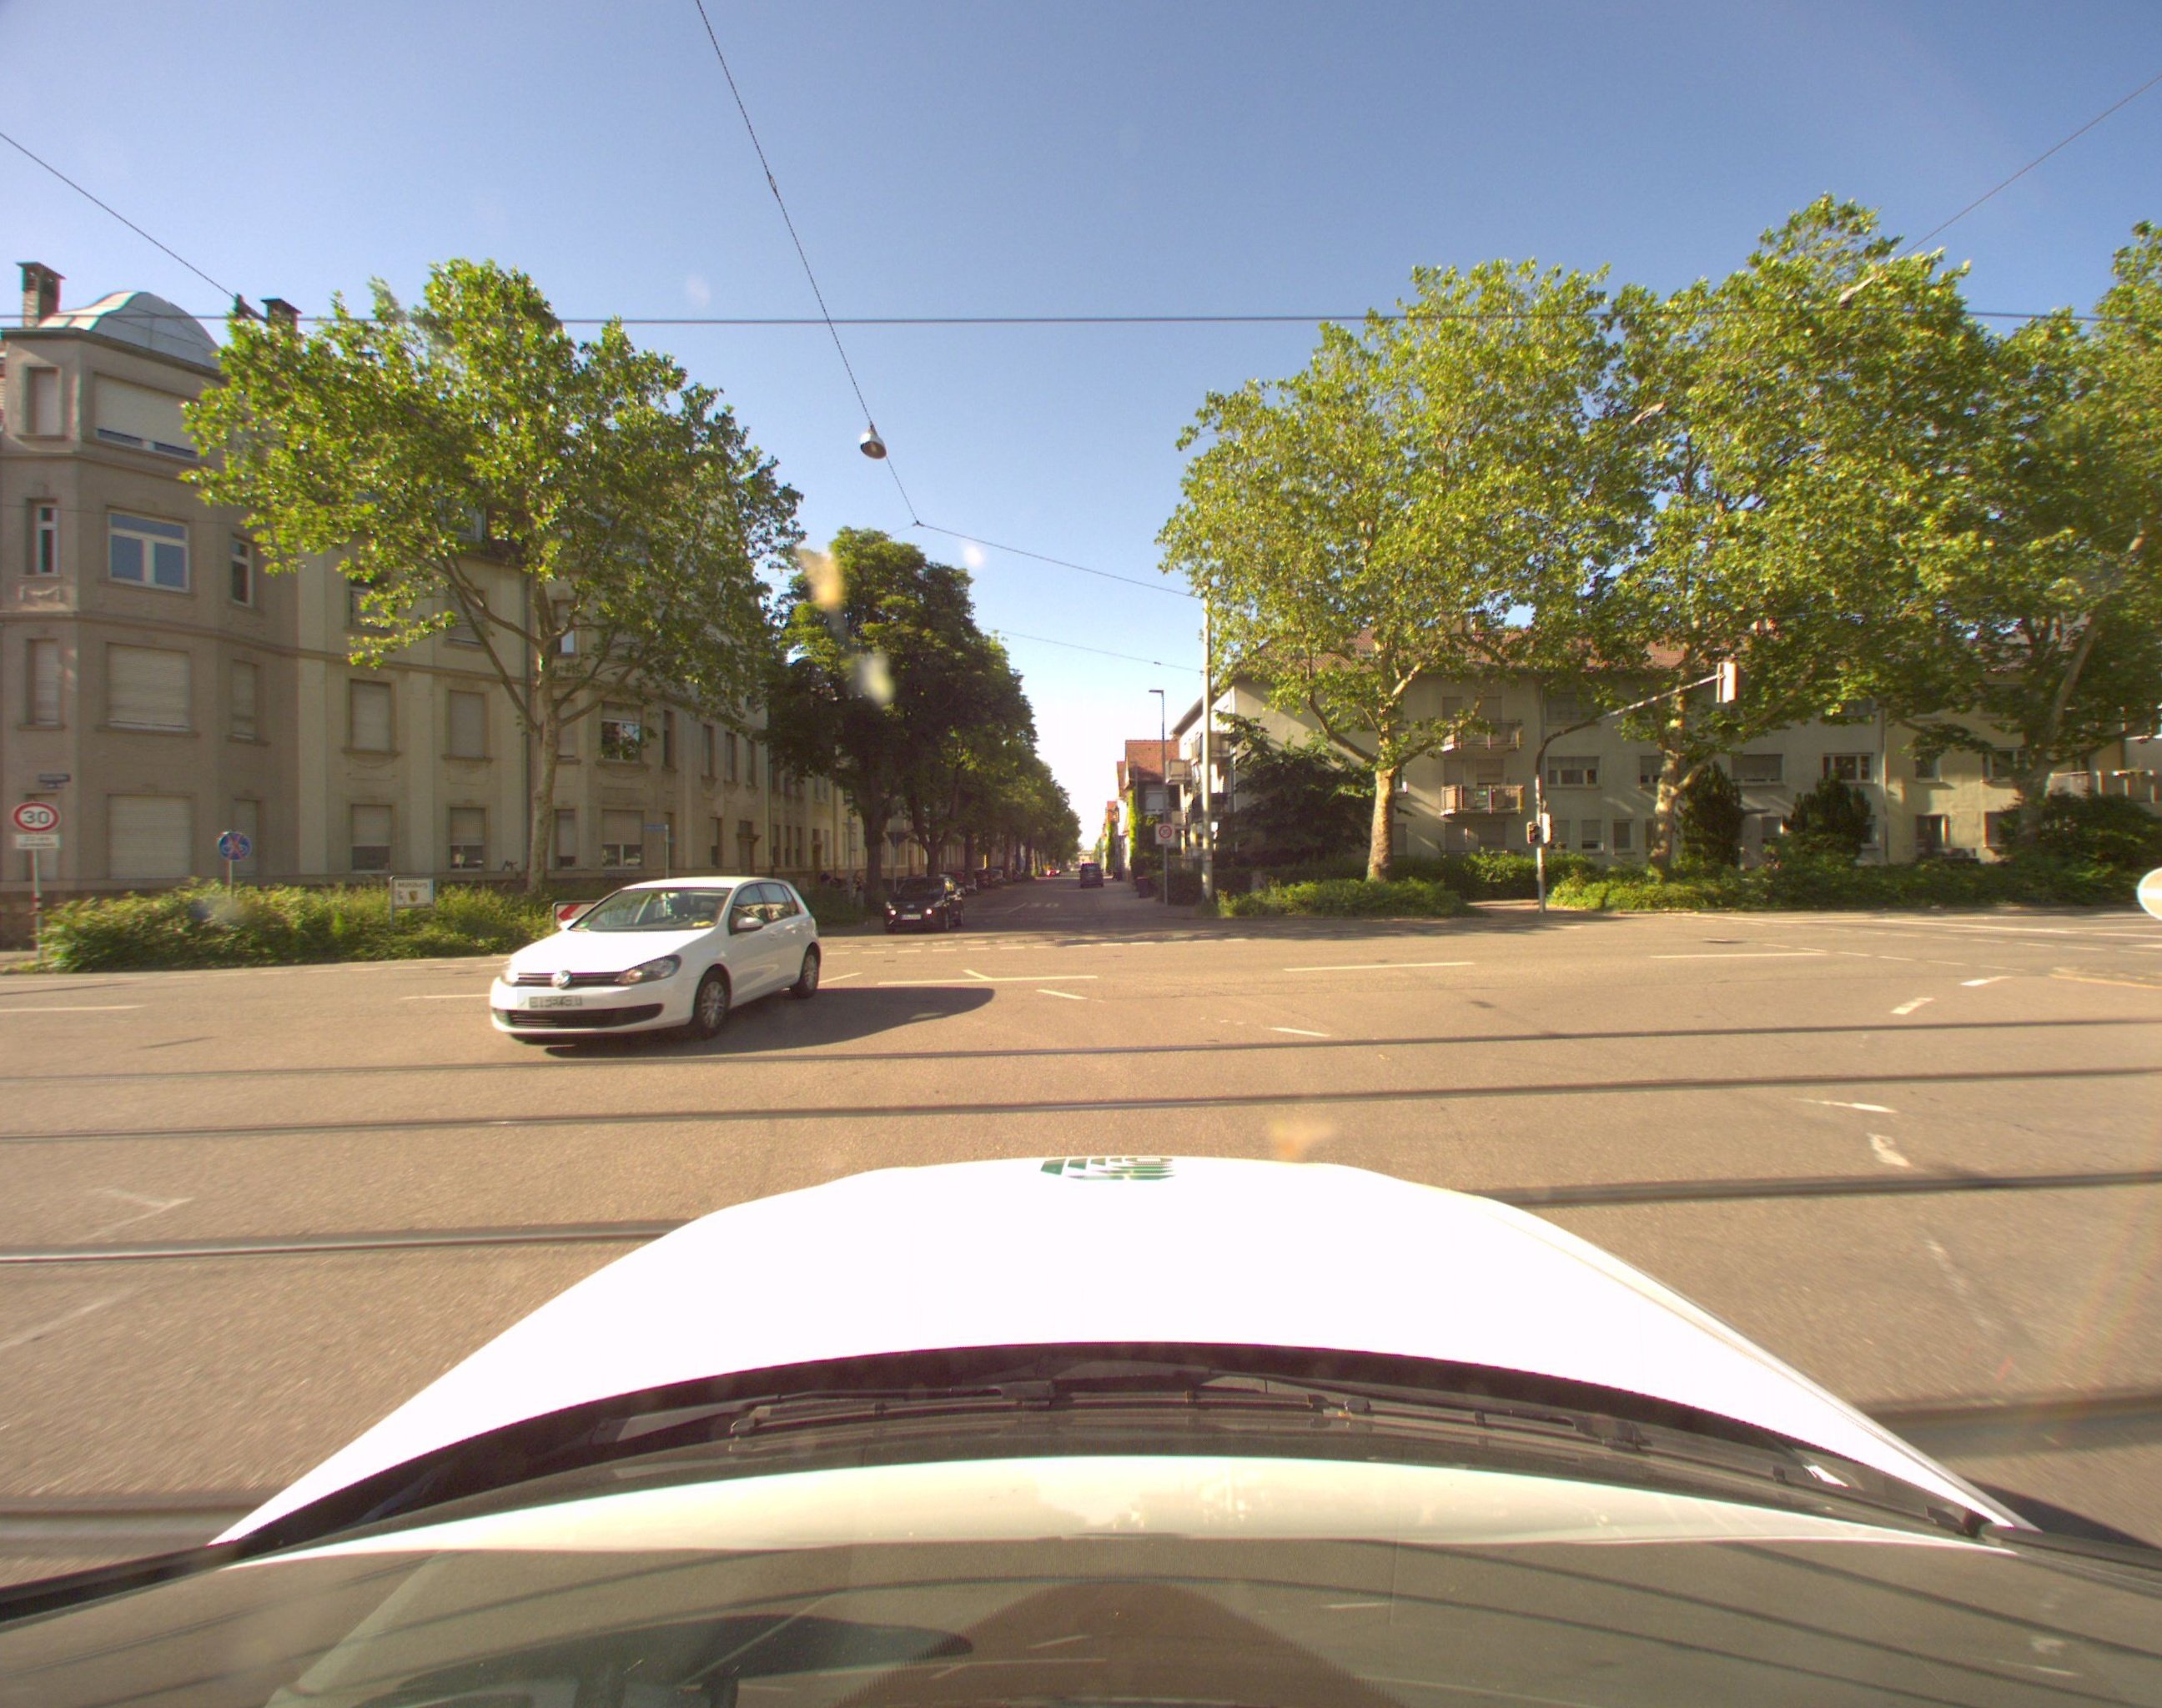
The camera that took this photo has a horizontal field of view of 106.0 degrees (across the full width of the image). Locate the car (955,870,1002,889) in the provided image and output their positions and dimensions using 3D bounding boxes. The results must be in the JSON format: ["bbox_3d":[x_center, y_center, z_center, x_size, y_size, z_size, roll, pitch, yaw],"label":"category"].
[{"bbox_3d":[-9.177,2.284,73.321,3.975,1.592,1.858,0,-1,-1],"label":"car"}]

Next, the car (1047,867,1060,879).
[{"bbox_3d":[-3.788,2.619,113.874,1.636,1.508,3.701,-2,-1,0],"label":"car"}]

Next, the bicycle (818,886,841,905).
[{"bbox_3d":[-12.538,2.067,40.674,0.469,0.912,1.600,-1,-1,7],"label":"bicycle"}]

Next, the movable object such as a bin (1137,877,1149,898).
[{"bbox_3d":[3.301,1.792,43.332,0.482,1.044,0.656,-5,-1,-2],"label":"movable object such as a bin"}]

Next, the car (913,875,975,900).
[{"bbox_3d":[-8.274,2.014,49.387,3.420,1.452,1.704,-1,-2,2],"label":"car"}]

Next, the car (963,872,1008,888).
[{"bbox_3d":[-8.860,2.378,75.741,3.884,1.446,1.862,0,-1,5],"label":"car"}]

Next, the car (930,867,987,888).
[{"bbox_3d":[-9.179,1.785,61.398,3.972,1.567,1.864,0,-1,1],"label":"car"}]

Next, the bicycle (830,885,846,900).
[{"bbox_3d":[-13.682,2.167,45.862,0.571,0.816,0.967,2,-1,-1],"label":"bicycle"}]

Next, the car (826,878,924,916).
[{"bbox_3d":[-9.041,1.886,36.006,3.870,1.476,1.615,-2,-1,0],"label":"car"}]

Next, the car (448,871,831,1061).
[{"bbox_3d":[-4.118,0.945,8.471,1.800,1.458,3.998,-1,-2,0],"label":"car"}]

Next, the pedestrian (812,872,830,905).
[{"bbox_3d":[-13.009,1.714,40.778,0.457,1.658,0.896,-1,-1,8],"label":"pedestrian"}]

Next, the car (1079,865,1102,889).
[{"bbox_3d":[0.783,1.836,66.187,1.858,1.916,4.782,0,-1,1],"label":"car"}]

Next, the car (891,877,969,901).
[{"bbox_3d":[-8.726,2.031,47.403,4.198,1.349,1.702,0,-2,0],"label":"car"}]

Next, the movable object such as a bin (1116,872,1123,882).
[{"bbox_3d":[4.066,2.441,86.977,0.646,1.040,0.827,-2,-1,-2],"label":"movable object such as a bin"}]

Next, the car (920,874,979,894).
[{"bbox_3d":[-9.515,2.168,59.210,3.972,1.403,1.830,0,-1,1],"label":"car"}]

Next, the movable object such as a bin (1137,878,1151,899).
[{"bbox_3d":[3.305,1.782,42.604,0.595,1.044,0.706,-5,-1,-2],"label":"movable object such as a bin"}]

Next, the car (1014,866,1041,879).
[{"bbox_3d":[-7.995,2.806,122.822,3.978,1.761,1.795,1,-2,-4],"label":"car"}]

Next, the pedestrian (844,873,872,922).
[{"bbox_3d":[-7.788,1.506,28.466,0.689,1.682,0.682,-1,-1,11],"label":"pedestrian"}]

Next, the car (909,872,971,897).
[{"bbox_3d":[-9.810,2.114,56.753,3.972,1.508,1.723,-2,-1,1],"label":"car"}]

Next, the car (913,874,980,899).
[{"bbox_3d":[-8.533,2.063,51.917,3.972,1.482,1.786,0,-1,1],"label":"car"}]

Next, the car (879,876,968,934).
[{"bbox_3d":[-4.339,1.370,22.987,1.654,1.464,3.809,-1,-2,1],"label":"car"}]

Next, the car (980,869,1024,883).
[{"bbox_3d":[-8.477,2.383,87.819,4.519,1.503,1.891,-1,-1,-1],"label":"car"}]
